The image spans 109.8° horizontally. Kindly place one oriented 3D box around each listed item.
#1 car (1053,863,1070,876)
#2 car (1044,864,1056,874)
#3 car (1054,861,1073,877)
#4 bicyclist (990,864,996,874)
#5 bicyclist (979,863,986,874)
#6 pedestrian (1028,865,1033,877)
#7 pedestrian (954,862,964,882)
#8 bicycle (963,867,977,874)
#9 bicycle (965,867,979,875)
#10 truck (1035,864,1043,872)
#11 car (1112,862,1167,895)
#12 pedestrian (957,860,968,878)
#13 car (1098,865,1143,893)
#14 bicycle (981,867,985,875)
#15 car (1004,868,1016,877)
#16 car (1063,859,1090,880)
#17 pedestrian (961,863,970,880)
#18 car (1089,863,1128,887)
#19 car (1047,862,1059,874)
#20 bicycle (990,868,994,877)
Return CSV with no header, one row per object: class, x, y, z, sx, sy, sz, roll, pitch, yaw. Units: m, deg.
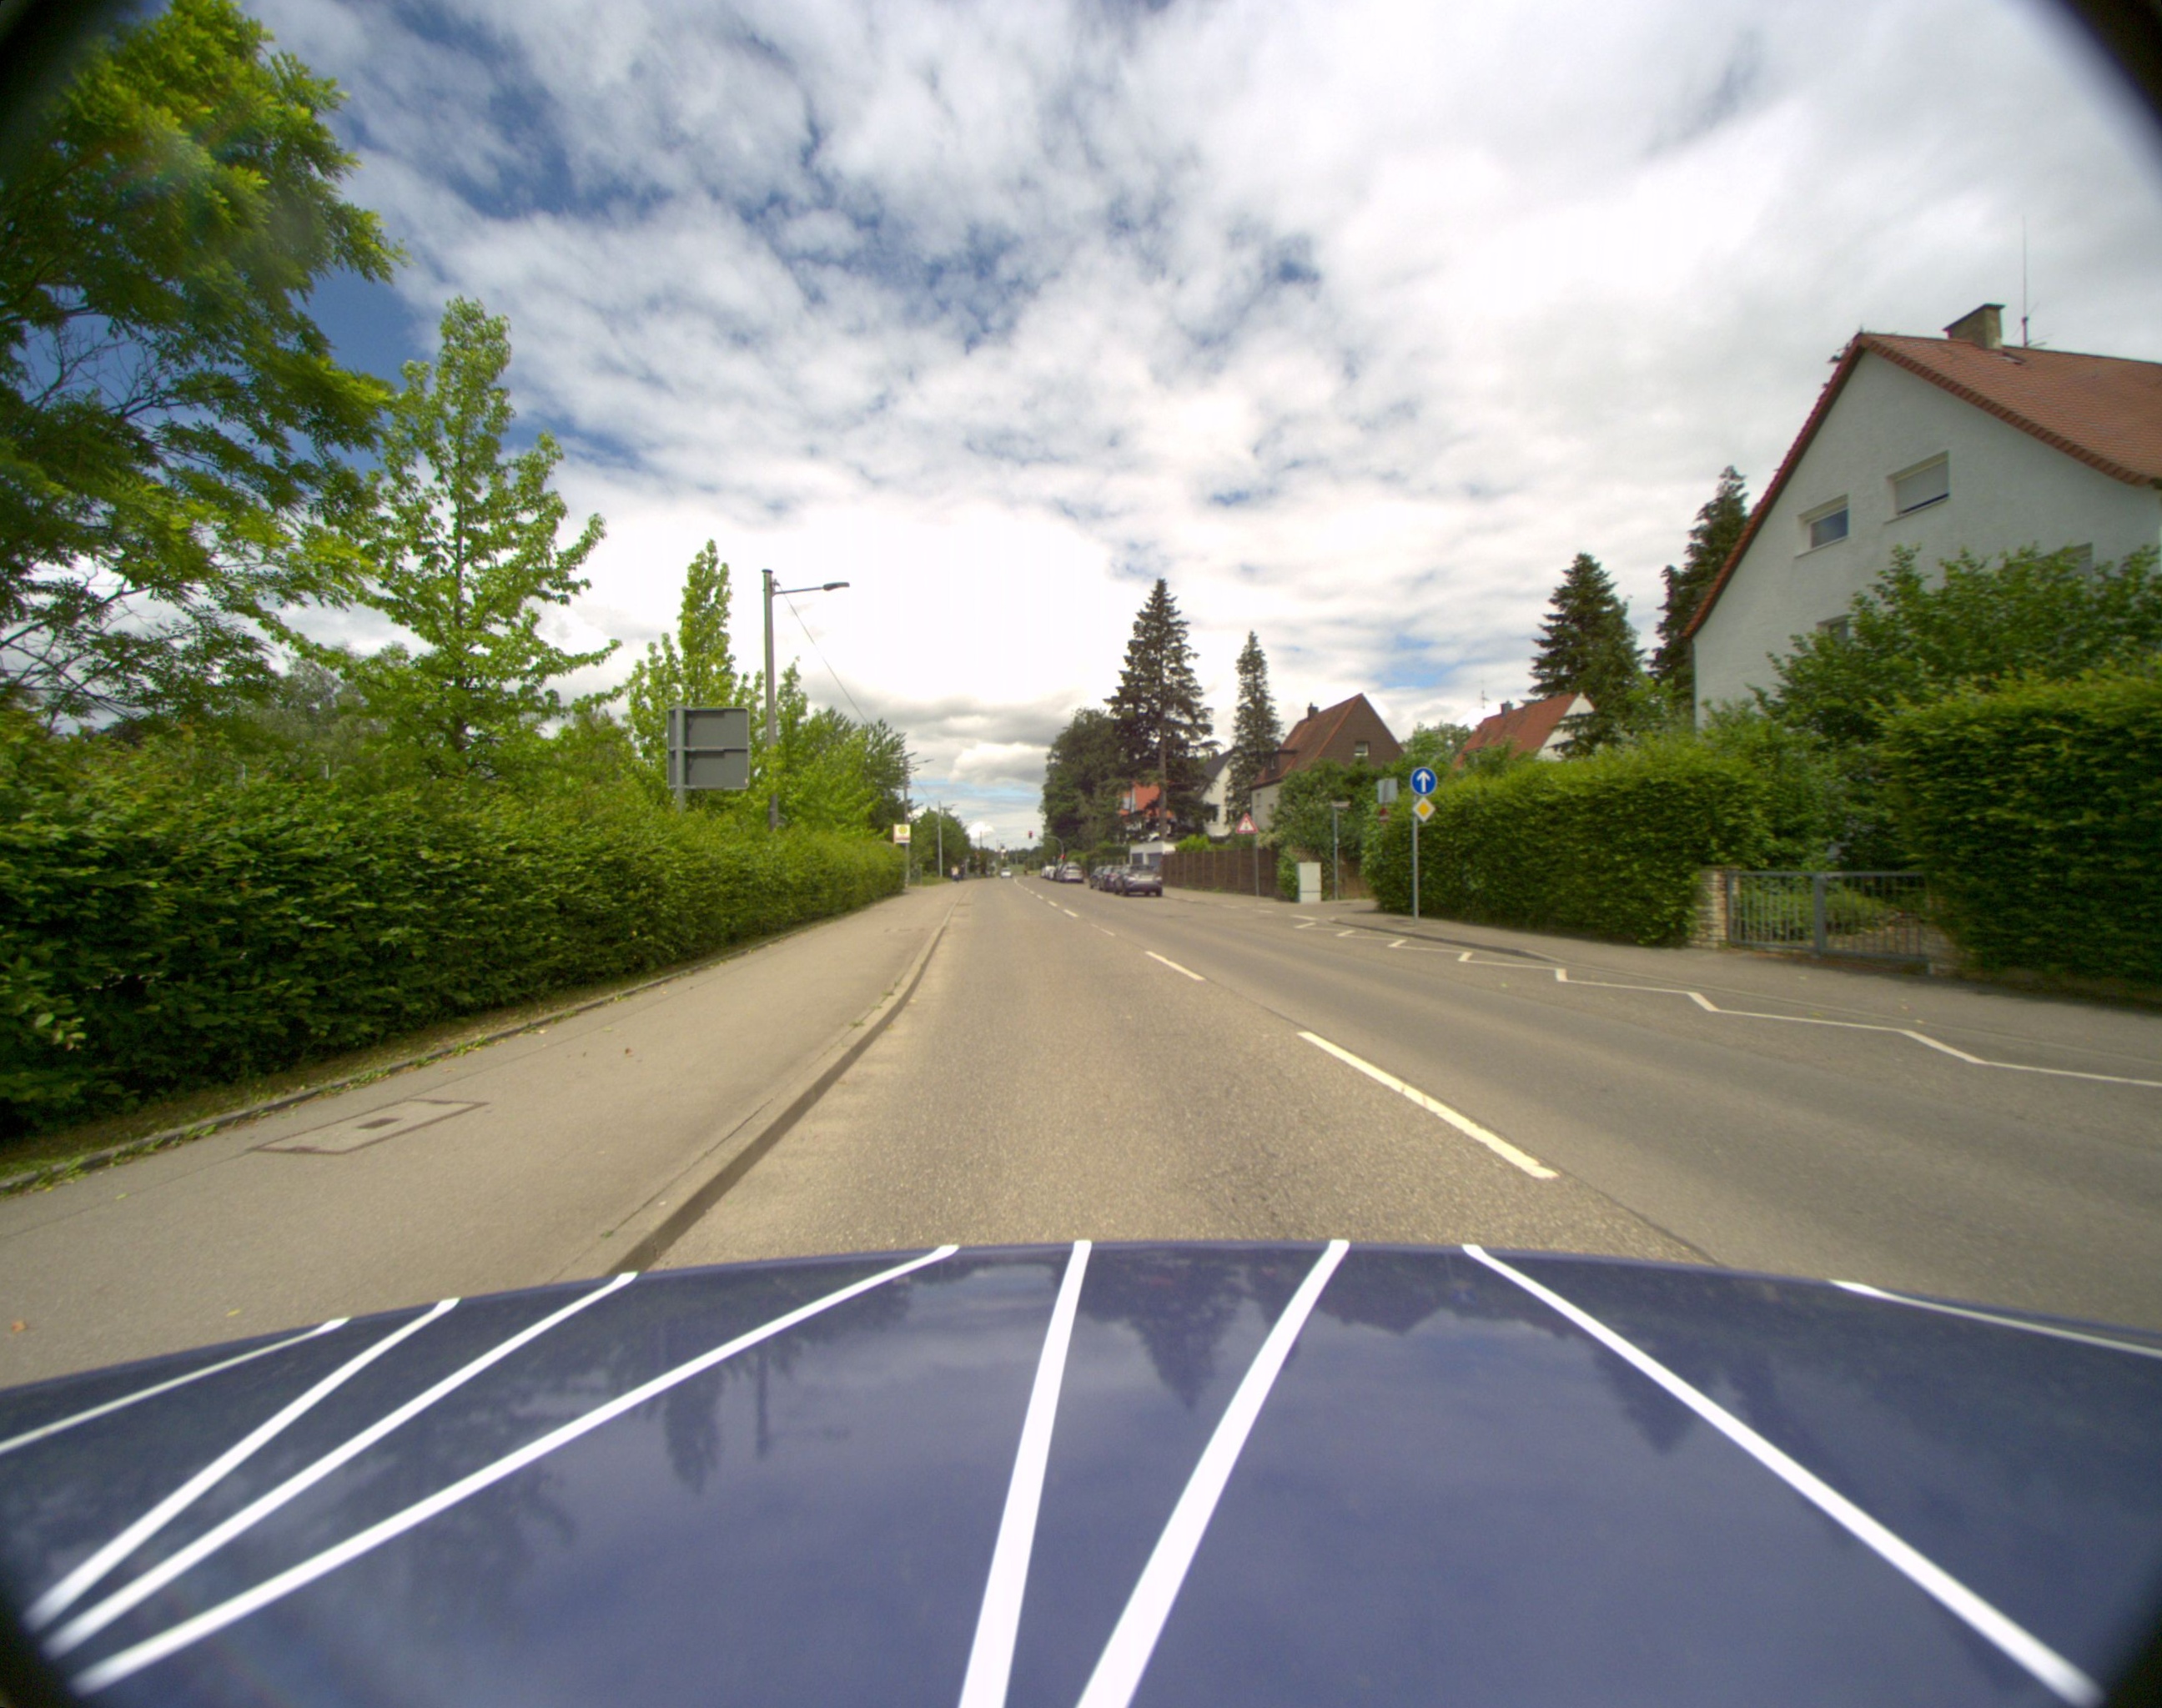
car,-2.221,1.785,86.456,1.810,1.450,5.068,1,-1,-3
car,-4.839,2.321,117.987,1.709,1.444,4.357,2,-1,0
car,-1.882,1.586,79.892,1.631,1.668,4.582,1,-1,-5
bicyclist,-13.029,2.200,112.649,0.827,1.529,0.861,-2,0,-6
bicyclist,-14.496,2.097,111.782,0.827,1.529,0.861,-1,-1,-5
pedestrian,-6.908,2.362,103.921,0.649,1.654,0.708,-2,0,1
pedestrian,-10.786,1.585,67.046,0.687,1.649,0.690,-2,0,0
bicycle,-17.270,2.626,118.589,2.094,1.074,0.546,0,0,-1
bicycle,-17.229,2.711,120.000,2.094,1.041,0.559,-4,0,-1
truck,-11.976,3.972,216.105,2.195,2.357,6.903,0,-1,-4
car,2.742,1.126,36.692,1.999,1.470,4.645,0,0,-4
pedestrian,-11.338,1.439,72.773,0.842,1.649,0.766,-2,0,0
car,2.142,1.339,41.999,1.872,1.450,4.487,-1,0,-5
bicycle,-14.485,2.507,111.803,0.451,1.142,2.207,-1,0,-4
car,-10.980,2.867,117.223,1.666,1.394,3.898,-1,-1,-4
car,-0.444,1.366,66.766,1.991,1.808,4.706,-1,-1,-6
pedestrian,-12.808,1.961,84.498,0.747,1.871,0.801,-2,0,2
car,1.657,1.316,47.073,1.657,1.418,3.903,0,-1,-10
car,-4.190,2.087,112.948,1.681,1.747,4.606,1,-1,-5
bicycle,-13.105,2.723,112.240,0.451,1.278,2.206,-2,0,-8
